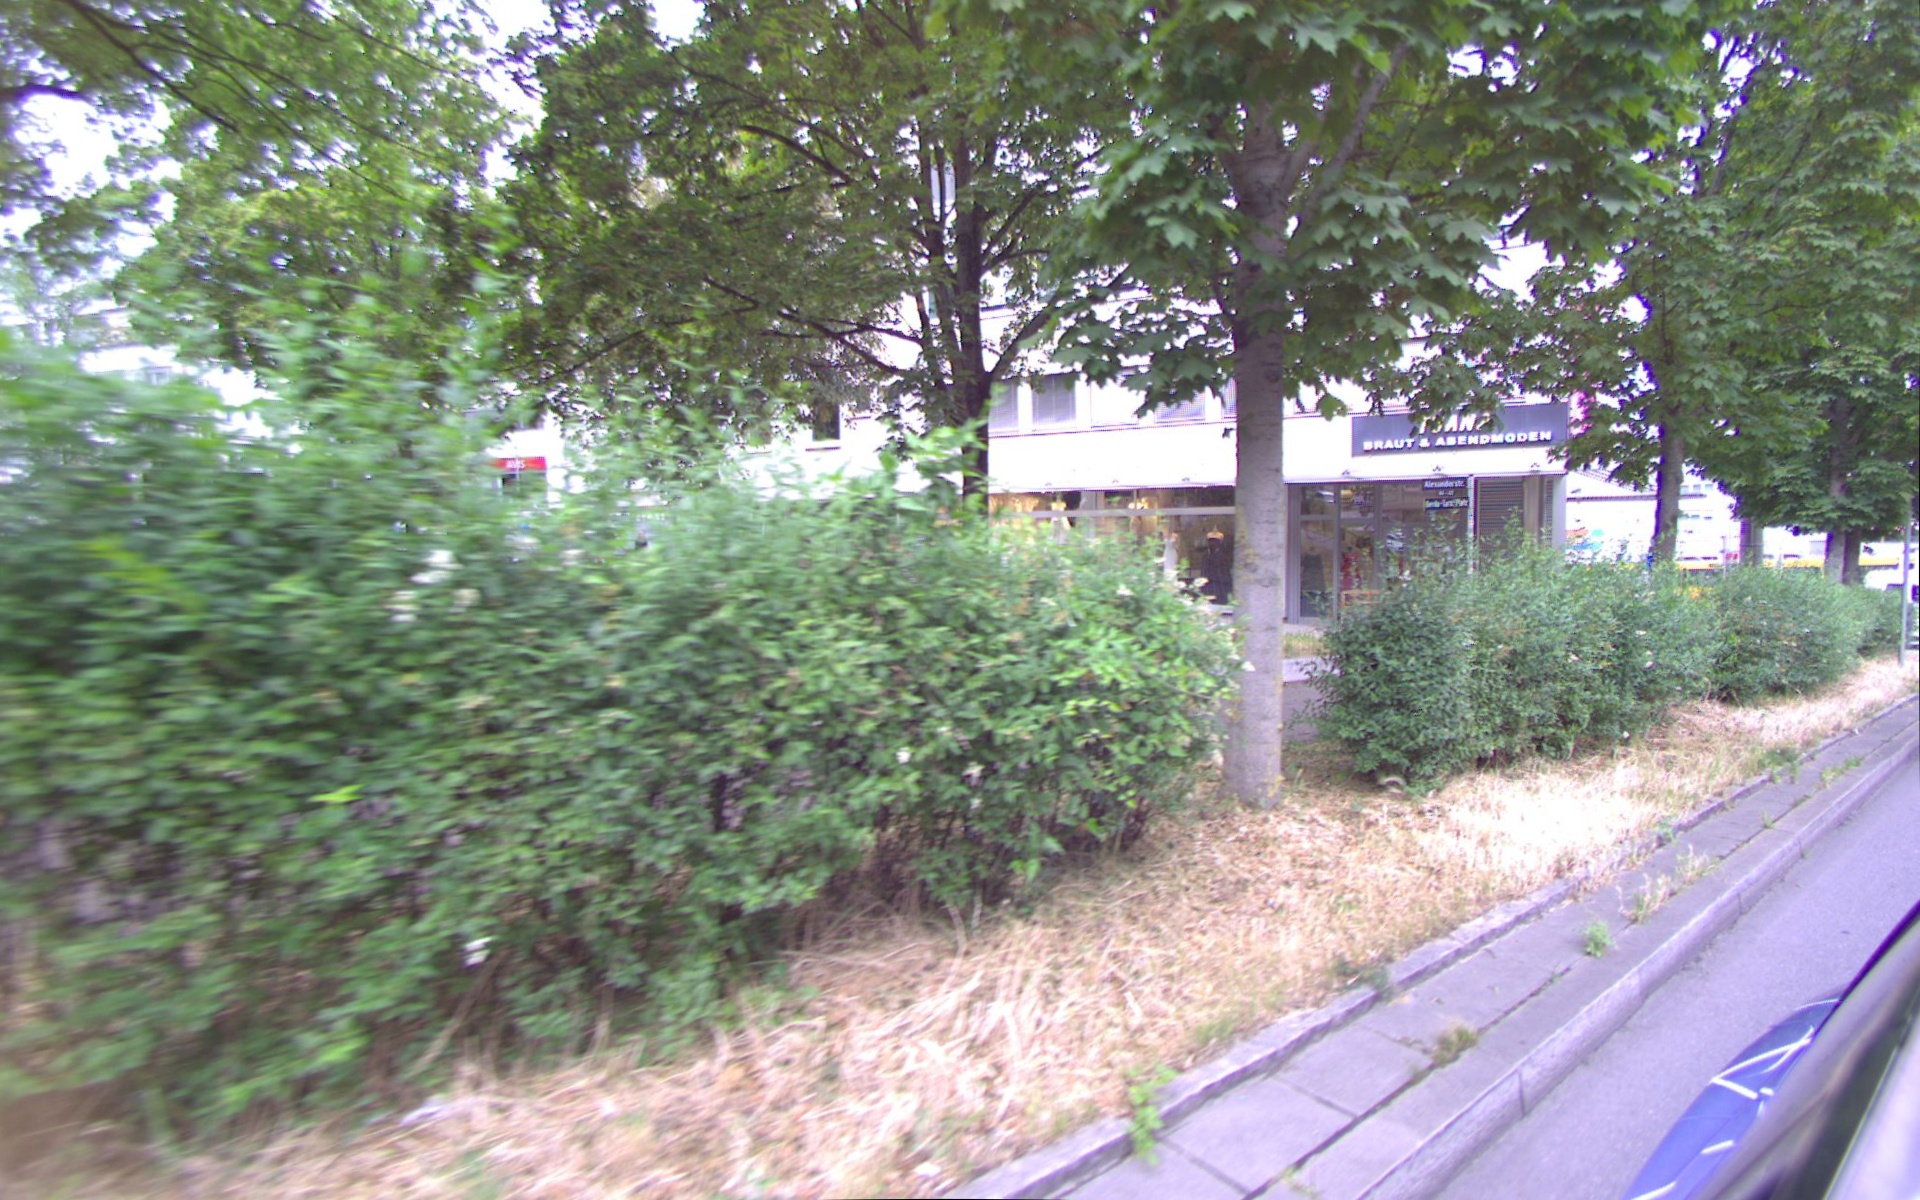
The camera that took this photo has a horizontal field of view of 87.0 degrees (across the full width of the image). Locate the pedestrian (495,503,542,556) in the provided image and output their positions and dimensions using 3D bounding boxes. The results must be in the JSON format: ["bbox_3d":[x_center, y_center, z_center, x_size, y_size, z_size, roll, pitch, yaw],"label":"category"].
[{"bbox_3d":[-15.845,-2.523,36.333,1.014,1.845,1.151,0,1,25],"label":"pedestrian"}]

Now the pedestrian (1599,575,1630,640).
[{"bbox_3d":[18.340,0.202,28.362,0.669,1.817,0.602,0,0,29],"label":"pedestrian"}]

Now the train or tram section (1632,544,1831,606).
[{"bbox_3d":[50.665,-1.730,67.394,2.879,3.602,14.225,-2,2,3],"label":"train or tram section"}]

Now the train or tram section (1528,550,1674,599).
[{"bbox_3d":[51.133,-2.000,81.564,2.837,3.484,14.228,-3,1,1],"label":"train or tram section"}]

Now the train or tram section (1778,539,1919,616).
[{"bbox_3d":[48.687,-1.282,53.168,2.847,3.709,14.178,-1,1,13],"label":"train or tram section"}]

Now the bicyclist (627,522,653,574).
[{"bbox_3d":[-9.983,-1.622,31.579,0.593,1.622,0.506,2,2,38],"label":"bicyclist"}]

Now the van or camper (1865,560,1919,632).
[{"bbox_3d":[36.468,-0.178,37.278,2.180,2.590,6.339,-2,1,18],"label":"van or camper"}]
